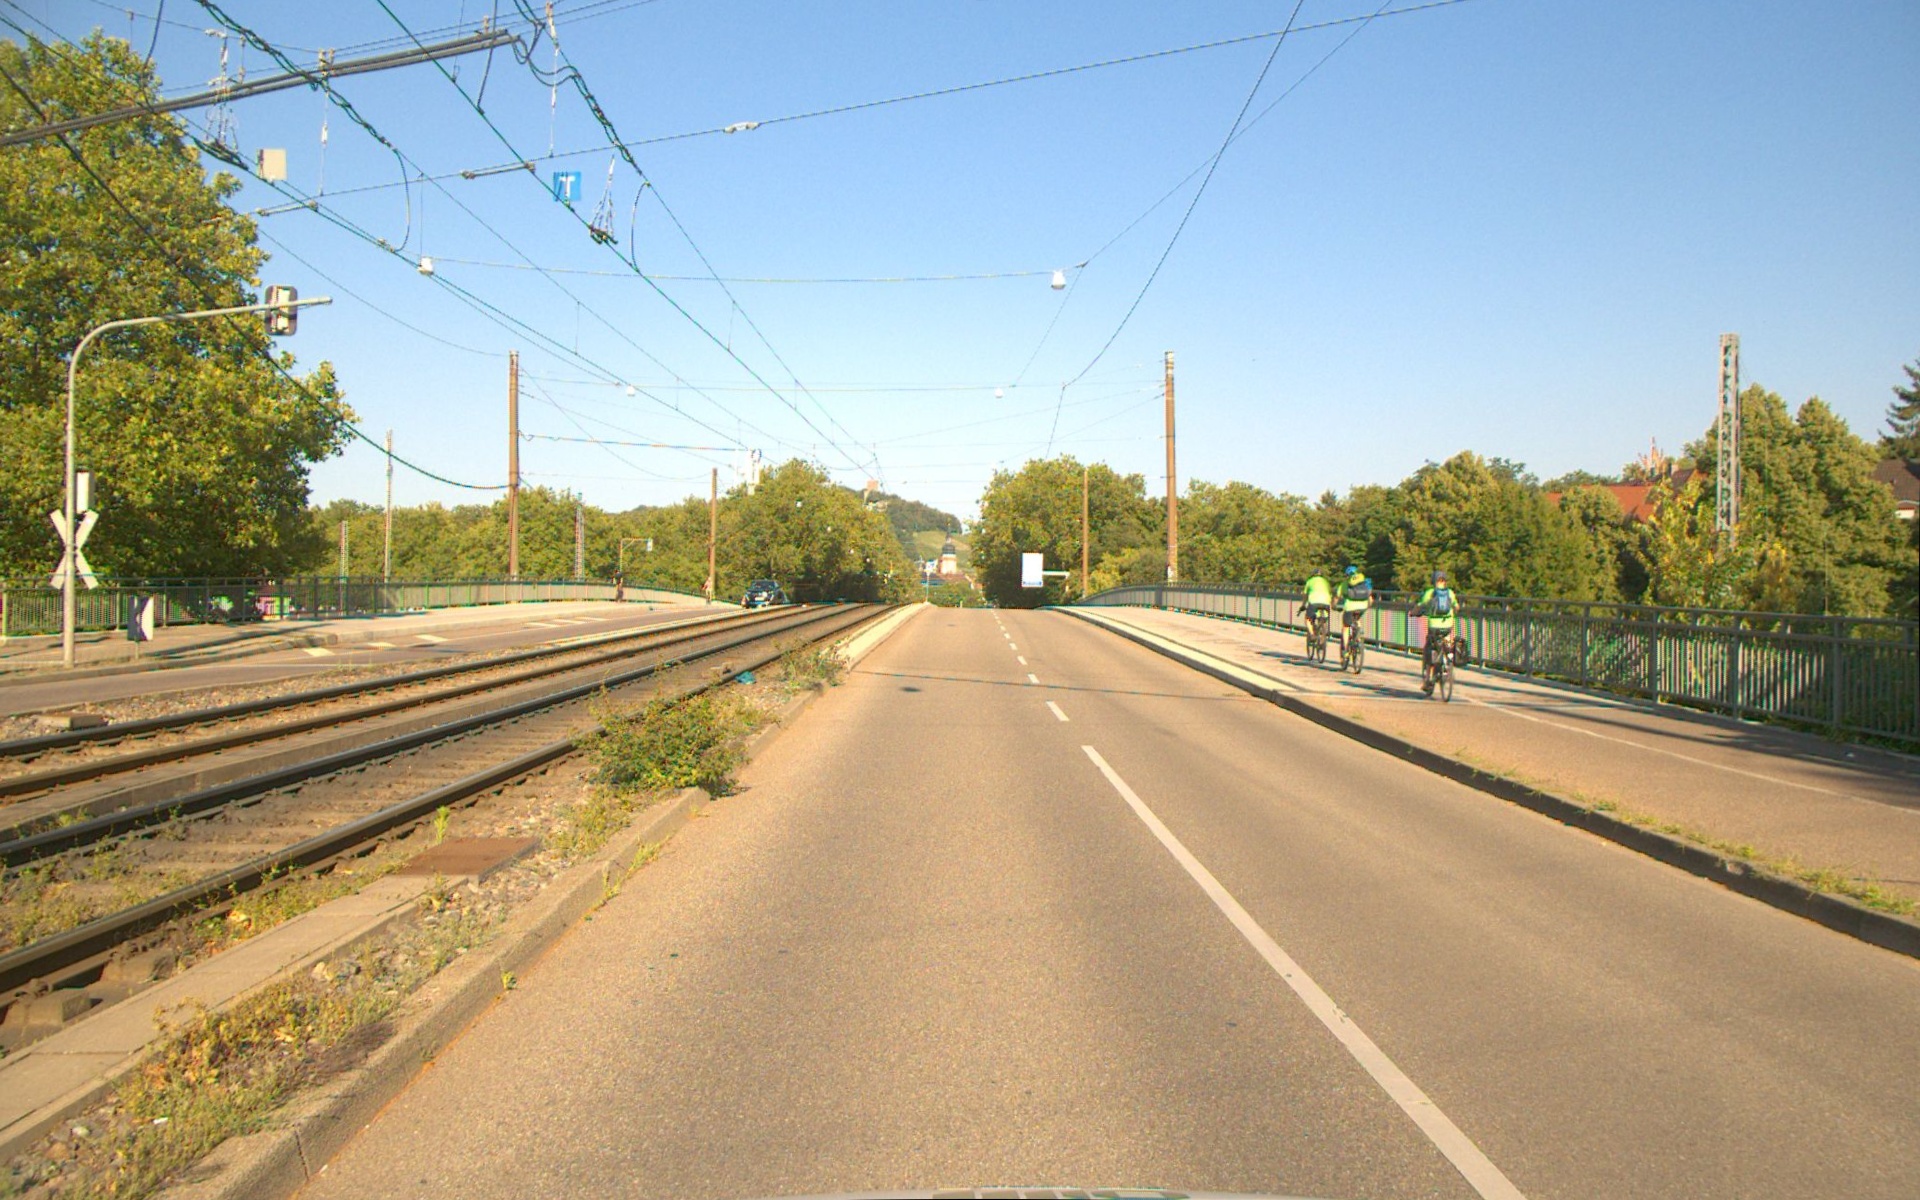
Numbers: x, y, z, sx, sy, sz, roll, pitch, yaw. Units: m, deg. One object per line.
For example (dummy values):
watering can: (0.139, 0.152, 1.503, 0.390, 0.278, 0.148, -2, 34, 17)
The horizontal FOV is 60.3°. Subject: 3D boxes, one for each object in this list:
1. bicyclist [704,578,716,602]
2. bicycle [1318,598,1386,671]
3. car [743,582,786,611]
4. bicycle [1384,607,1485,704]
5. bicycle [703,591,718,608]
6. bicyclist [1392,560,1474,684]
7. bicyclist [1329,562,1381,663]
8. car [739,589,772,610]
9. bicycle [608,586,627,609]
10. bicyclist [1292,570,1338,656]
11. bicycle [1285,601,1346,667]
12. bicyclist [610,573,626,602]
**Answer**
bicyclist: (-16.924, -0.668, 112.055, 0.612, 1.662, 0.936, 1, 0, 1)
bicycle: (6.443, 0.546, 27.260, 0.612, 1.142, 2.042, 1, 0, 0)
car: (-10.768, -0.209, 91.323, 1.811, 1.528, 4.219, 1, 0, 0)
bicycle: (6.217, 0.700, 21.790, 0.669, 1.142, 2.216, 1, 1, 0)
bicycle: (-16.927, -0.045, 112.217, 0.612, 1.142, 2.260, 1, 0, 1)
bicyclist: (6.214, 0.278, 21.765, 0.795, 1.589, 0.896, 1, 1, 0)
bicyclist: (6.484, 0.203, 27.202, 0.612, 1.620, 0.931, 1, 0, 0)
car: (-14.126, -0.056, 114.720, 1.649, 1.380, 4.920, 1, 0, 0)
bicycle: (-17.524, -0.107, 84.667, 0.612, 1.142, 2.258, 1, 0, -3)
bicyclist: (6.471, 0.227, 30.174, 0.612, 1.534, 1.006, 1, 0, 0)
bicycle: (6.461, 0.595, 30.134, 0.612, 1.142, 2.259, 1, 0, 0)
bicyclist: (-17.517, -0.631, 84.708, 0.613, 1.457, 0.968, 1, 0, -4)
